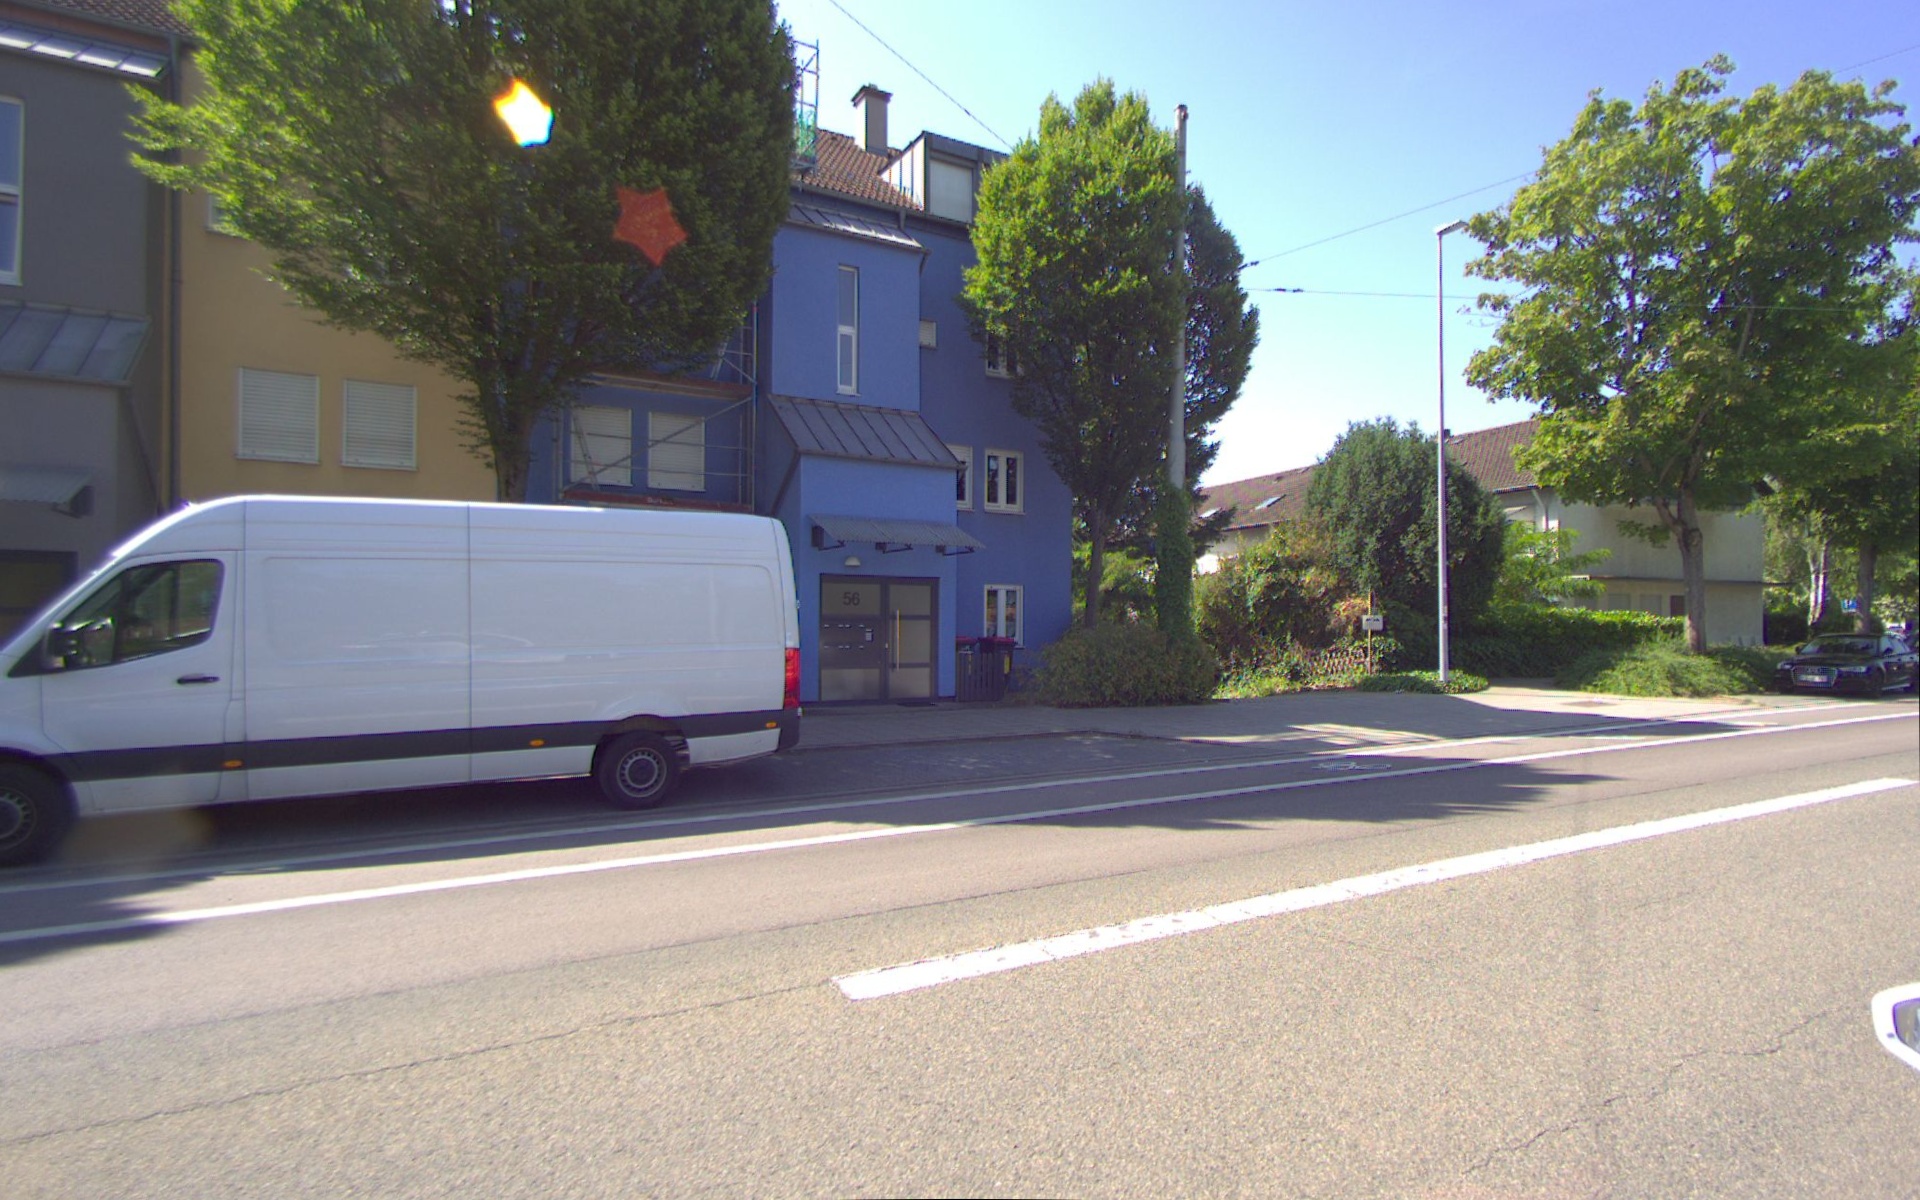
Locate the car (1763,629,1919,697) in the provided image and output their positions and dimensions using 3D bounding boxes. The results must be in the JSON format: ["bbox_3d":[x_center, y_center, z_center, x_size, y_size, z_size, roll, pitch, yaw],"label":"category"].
[{"bbox_3d":[21.568,1.465,24.400,4.858,1.485,1.829,1,-2,-34],"label":"car"}]

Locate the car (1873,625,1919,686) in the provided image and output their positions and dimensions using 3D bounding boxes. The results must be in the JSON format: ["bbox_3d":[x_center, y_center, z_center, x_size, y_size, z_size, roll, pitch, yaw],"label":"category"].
[{"bbox_3d":[27.511,1.522,27.991,4.837,1.627,1.753,1,-1,-31],"label":"car"}]

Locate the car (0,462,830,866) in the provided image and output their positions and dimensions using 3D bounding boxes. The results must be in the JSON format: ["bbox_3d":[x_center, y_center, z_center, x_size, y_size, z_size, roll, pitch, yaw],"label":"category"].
[{"bbox_3d":[-4.797,0.436,8.781,7.001,2.713,1.984,1,2,-30],"label":"car"}]

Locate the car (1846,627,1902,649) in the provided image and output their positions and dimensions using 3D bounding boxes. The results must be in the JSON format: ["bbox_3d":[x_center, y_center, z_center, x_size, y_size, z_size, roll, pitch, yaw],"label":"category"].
[{"bbox_3d":[82.765,3.431,90.984,1.535,1.901,3.406,1,-2,-31],"label":"car"}]
